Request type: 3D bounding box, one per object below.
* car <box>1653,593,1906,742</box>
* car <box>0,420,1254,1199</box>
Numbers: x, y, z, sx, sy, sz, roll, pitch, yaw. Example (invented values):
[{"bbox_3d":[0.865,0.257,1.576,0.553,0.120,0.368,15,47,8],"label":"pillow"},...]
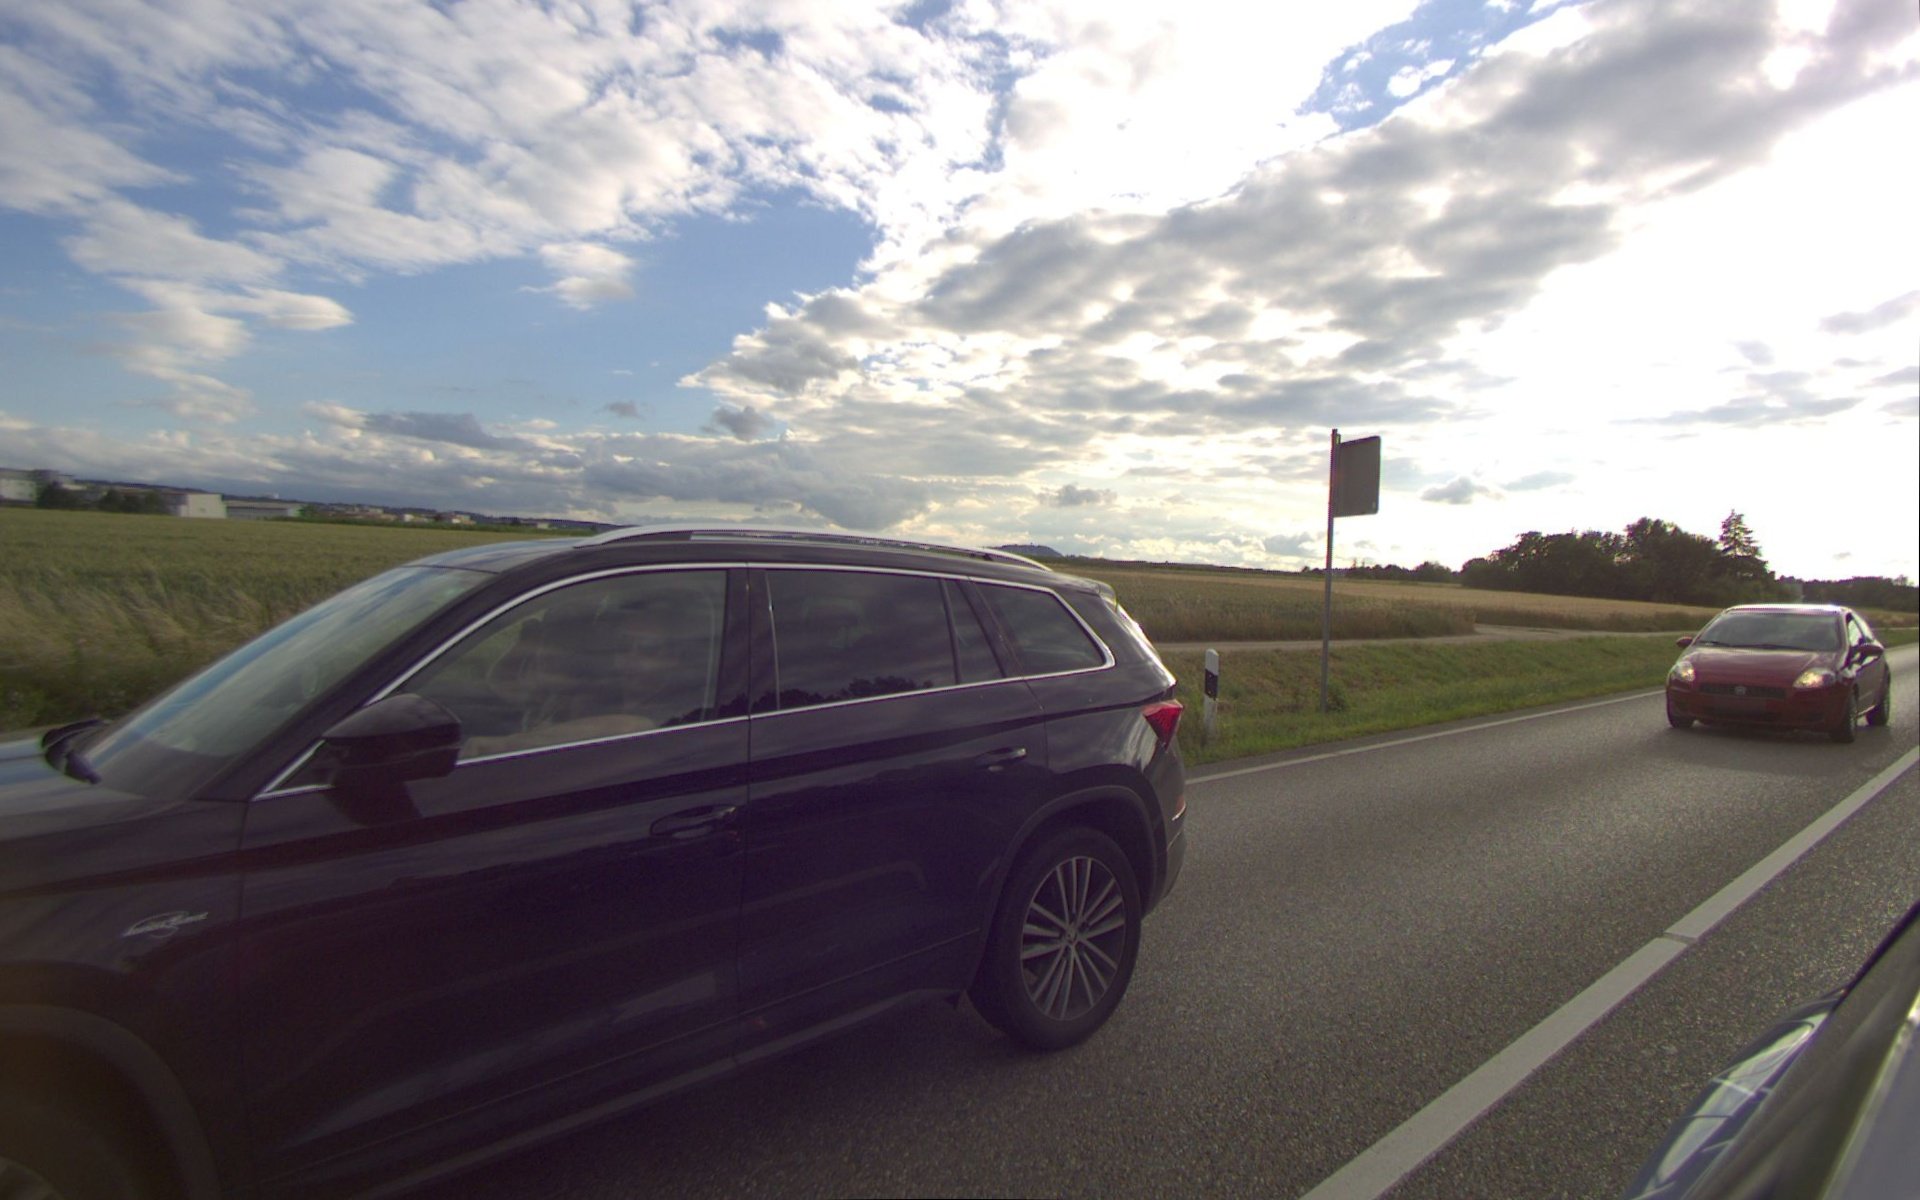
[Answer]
[{"bbox_3d":[9.894,0.672,12.121,3.840,1.475,1.710,-1,0,-41],"label":"car"},{"bbox_3d":[-1.168,0.568,3.091,4.477,1.730,1.839,-1,0,-41],"label":"car"}]
